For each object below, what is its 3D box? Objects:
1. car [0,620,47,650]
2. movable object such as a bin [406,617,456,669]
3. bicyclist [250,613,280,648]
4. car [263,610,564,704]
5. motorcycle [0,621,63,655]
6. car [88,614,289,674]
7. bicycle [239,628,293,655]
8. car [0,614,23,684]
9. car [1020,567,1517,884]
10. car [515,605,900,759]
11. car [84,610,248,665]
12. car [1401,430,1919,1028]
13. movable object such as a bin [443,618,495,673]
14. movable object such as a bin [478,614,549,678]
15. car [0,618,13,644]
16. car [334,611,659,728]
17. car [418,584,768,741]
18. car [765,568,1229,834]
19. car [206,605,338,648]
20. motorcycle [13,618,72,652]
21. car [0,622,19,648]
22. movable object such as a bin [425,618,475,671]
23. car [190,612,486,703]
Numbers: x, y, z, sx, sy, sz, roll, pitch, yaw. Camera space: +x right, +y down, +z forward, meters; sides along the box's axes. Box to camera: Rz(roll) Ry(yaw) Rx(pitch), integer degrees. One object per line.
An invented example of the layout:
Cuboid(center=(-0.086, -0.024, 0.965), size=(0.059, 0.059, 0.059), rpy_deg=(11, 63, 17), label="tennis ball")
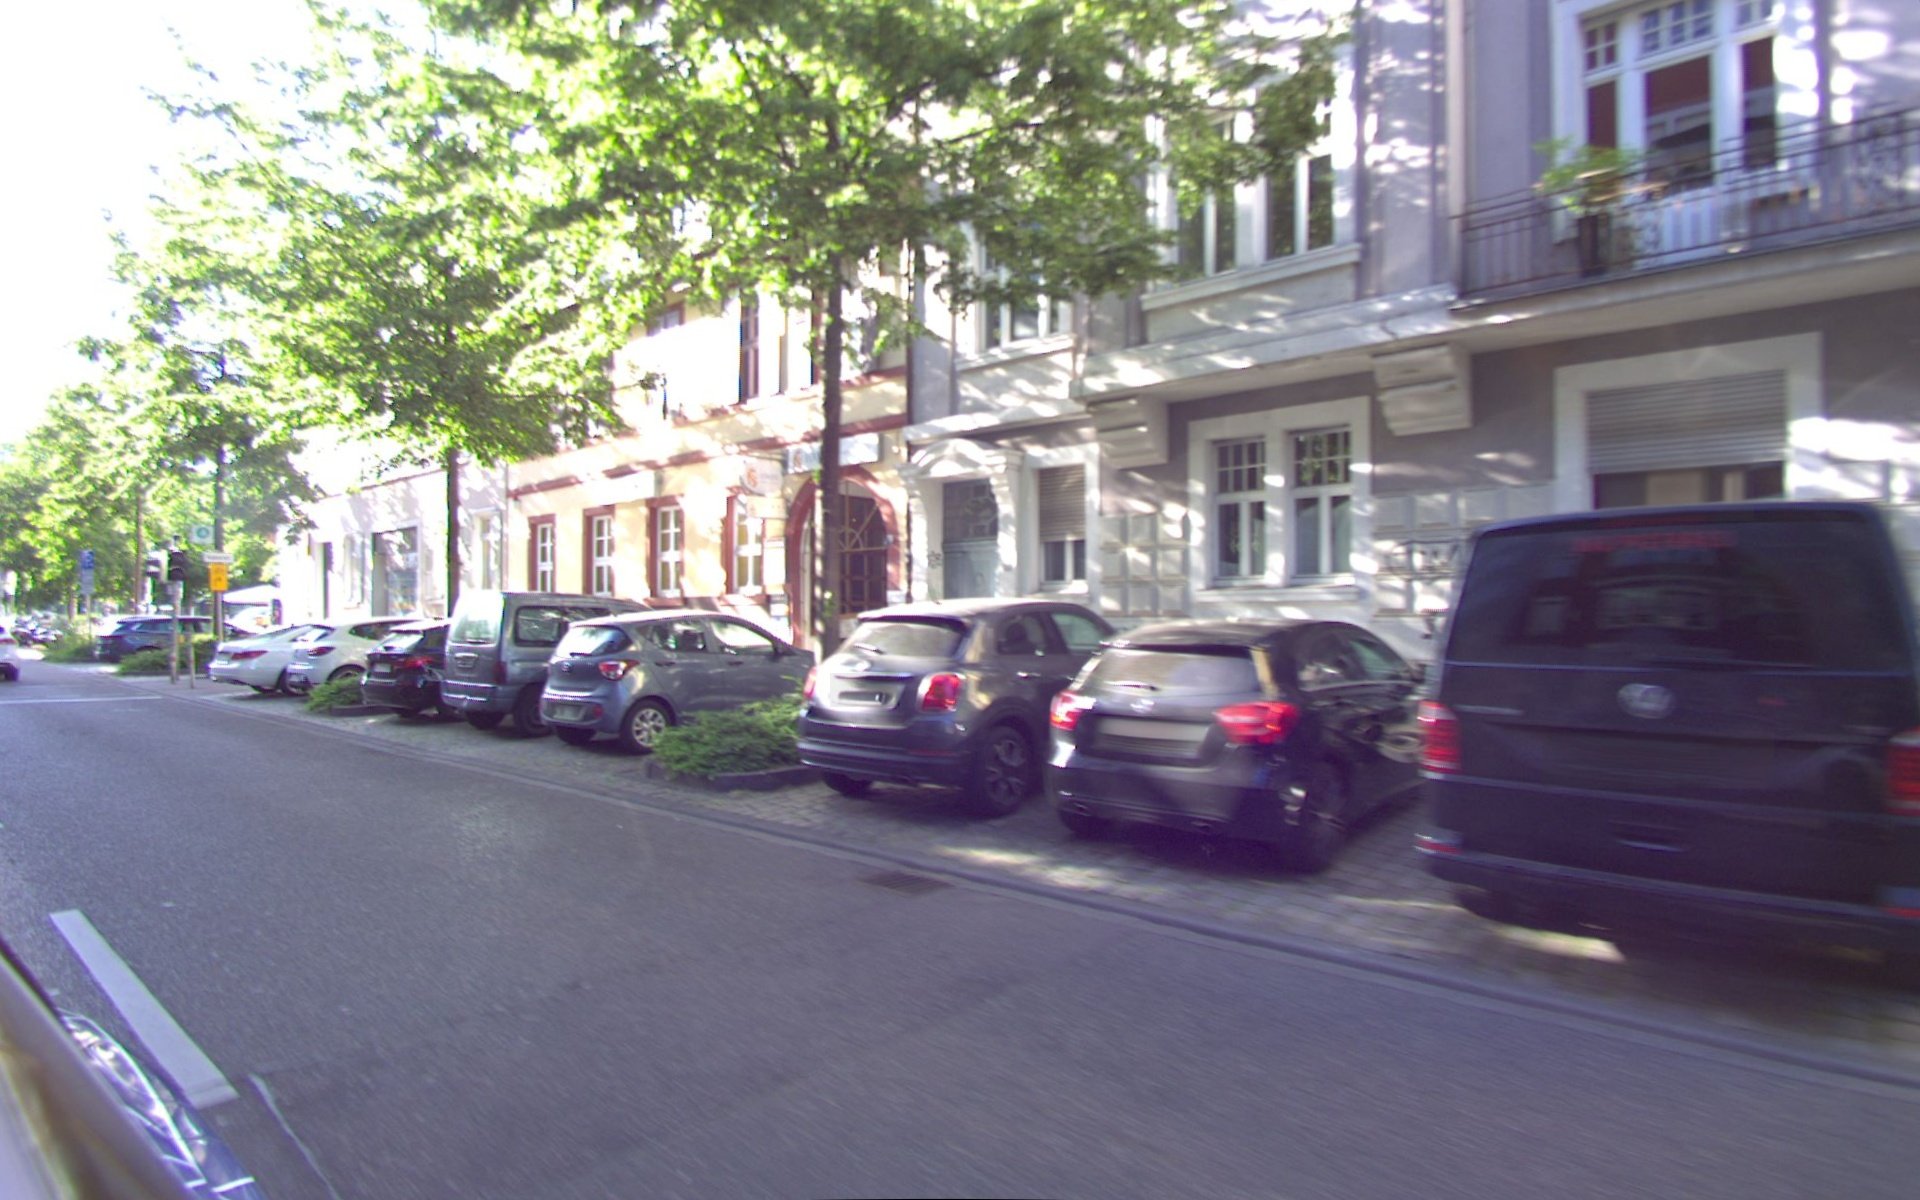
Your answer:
Cuboid(center=(-51.426, 1.840, 53.758), size=(1.978, 1.574, 3.988), rpy_deg=(0, -1, 10), label="car")
Cuboid(center=(-14.552, 1.161, 27.832), size=(1.261, 1.377, 0.899), rpy_deg=(-1, -1, 44), label="movable object such as a bin")
Cuboid(center=(-30.690, 1.342, 44.721), size=(0.665, 1.537, 0.883), rpy_deg=(-1, -1, 23), label="bicyclist")
Cuboid(center=(-10.232, 0.999, 19.295), size=(1.996, 1.503, 4.657), rpy_deg=(-2, -1, 36), label="car")
Cuboid(center=(-39.989, 1.605, 43.212), size=(2.282, 1.434, 1.004), rpy_deg=(0, -1, -22), label="motorcycle")
Cuboid(center=(-21.806, 1.183, 28.729), size=(1.944, 1.556, 4.292), rpy_deg=(-1, -1, 43), label="car")
Cuboid(center=(-30.674, 1.826, 44.740), size=(0.665, 1.167, 1.929), rpy_deg=(-1, -1, 23), label="bicycle")
Cuboid(center=(-23.618, 1.136, 23.790), size=(4.351, 1.556, 1.890), rpy_deg=(-1, 0, 41), label="car")
Cuboid(center=(2.497, 0.668, 7.403), size=(1.915, 1.607, 4.294), rpy_deg=(-1, -1, 41), label="car")
Cuboid(center=(-2.925, 0.859, 12.452), size=(1.916, 1.556, 4.294), rpy_deg=(-1, -1, 41), label="car")
Cuboid(center=(-25.795, 1.177, 32.965), size=(1.944, 1.652, 3.943), rpy_deg=(-1, -1, 43), label="car")
Cuboid(center=(4.187, 0.447, 5.402), size=(1.930, 1.941, 4.523), rpy_deg=(-1, -1, 43), label="car")
Cuboid(center=(-12.641, 1.155, 26.058), size=(1.346, 1.372, 0.808), rpy_deg=(-1, -1, 45), label="movable object such as a bin")
Cuboid(center=(-10.671, 1.073, 24.178), size=(1.382, 1.455, 1.121), rpy_deg=(-1, -1, 44), label="movable object such as a bin")
Cuboid(center=(-56.013, 1.783, 56.650), size=(1.981, 1.485, 3.981), rpy_deg=(-1, -1, 15), label="car")
Cuboid(center=(-6.997, 0.957, 15.767), size=(1.956, 1.556, 4.310), rpy_deg=(-1, -1, 29), label="car")
Cuboid(center=(-4.958, 0.773, 14.211), size=(1.926, 1.838, 4.300), rpy_deg=(-1, -1, 36), label="car")
Cuboid(center=(0.569, 0.696, 8.937), size=(1.914, 1.746, 4.296), rpy_deg=(-1, -1, 39), label="car")
Cuboid(center=(-33.697, 1.347, 49.759), size=(2.055, 1.959, 5.302), rpy_deg=(-1, -2, 15), label="car")
Cuboid(center=(-40.148, 1.517, 44.322), size=(1.724, 1.434, 0.832), rpy_deg=(0, -1, -22), label="motorcycle")
Cuboid(center=(-53.673, 1.919, 54.542), size=(1.978, 1.453, 3.988), rpy_deg=(0, -1, 10), label="car")
Cuboid(center=(-13.600, 1.158, 26.973), size=(1.249, 1.366, 0.820), rpy_deg=(-1, -1, 45), label="movable object such as a bin")
Cuboid(center=(-12.262, 1.037, 20.250), size=(1.996, 1.503, 4.657), rpy_deg=(0, 0, 36), label="car")
